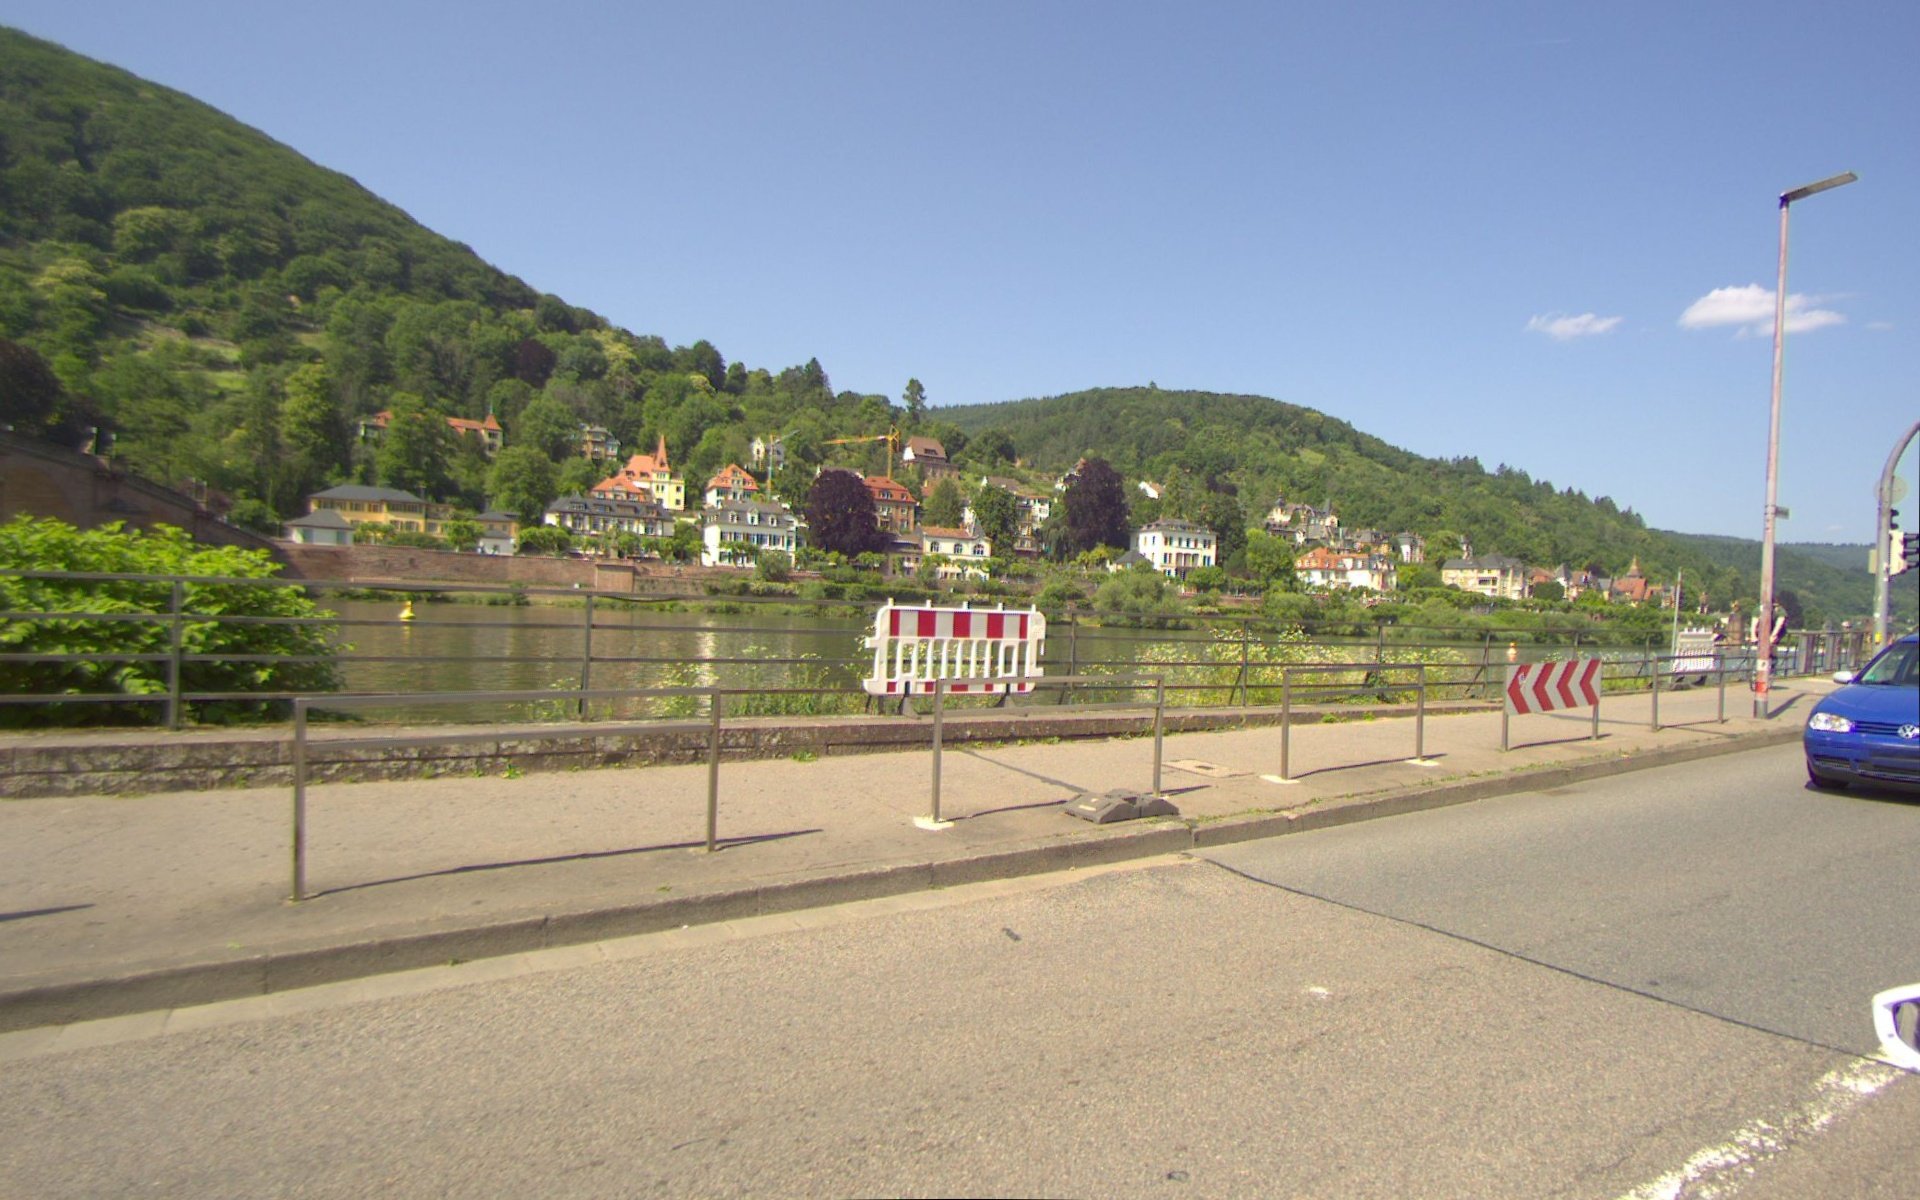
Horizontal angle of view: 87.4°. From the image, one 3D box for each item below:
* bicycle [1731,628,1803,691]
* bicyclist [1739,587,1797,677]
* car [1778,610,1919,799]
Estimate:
[{"bbox_3d":[15.338,1.108,19.069,2.017,1.127,0.661,1,-1,-39],"label":"bicycle"},{"bbox_3d":[15.347,0.606,19.078,0.971,1.653,0.661,1,-1,-39],"label":"bicyclist"},{"bbox_3d":[9.470,0.886,9.233,4.276,1.510,1.720,1,-1,-31],"label":"car"}]
